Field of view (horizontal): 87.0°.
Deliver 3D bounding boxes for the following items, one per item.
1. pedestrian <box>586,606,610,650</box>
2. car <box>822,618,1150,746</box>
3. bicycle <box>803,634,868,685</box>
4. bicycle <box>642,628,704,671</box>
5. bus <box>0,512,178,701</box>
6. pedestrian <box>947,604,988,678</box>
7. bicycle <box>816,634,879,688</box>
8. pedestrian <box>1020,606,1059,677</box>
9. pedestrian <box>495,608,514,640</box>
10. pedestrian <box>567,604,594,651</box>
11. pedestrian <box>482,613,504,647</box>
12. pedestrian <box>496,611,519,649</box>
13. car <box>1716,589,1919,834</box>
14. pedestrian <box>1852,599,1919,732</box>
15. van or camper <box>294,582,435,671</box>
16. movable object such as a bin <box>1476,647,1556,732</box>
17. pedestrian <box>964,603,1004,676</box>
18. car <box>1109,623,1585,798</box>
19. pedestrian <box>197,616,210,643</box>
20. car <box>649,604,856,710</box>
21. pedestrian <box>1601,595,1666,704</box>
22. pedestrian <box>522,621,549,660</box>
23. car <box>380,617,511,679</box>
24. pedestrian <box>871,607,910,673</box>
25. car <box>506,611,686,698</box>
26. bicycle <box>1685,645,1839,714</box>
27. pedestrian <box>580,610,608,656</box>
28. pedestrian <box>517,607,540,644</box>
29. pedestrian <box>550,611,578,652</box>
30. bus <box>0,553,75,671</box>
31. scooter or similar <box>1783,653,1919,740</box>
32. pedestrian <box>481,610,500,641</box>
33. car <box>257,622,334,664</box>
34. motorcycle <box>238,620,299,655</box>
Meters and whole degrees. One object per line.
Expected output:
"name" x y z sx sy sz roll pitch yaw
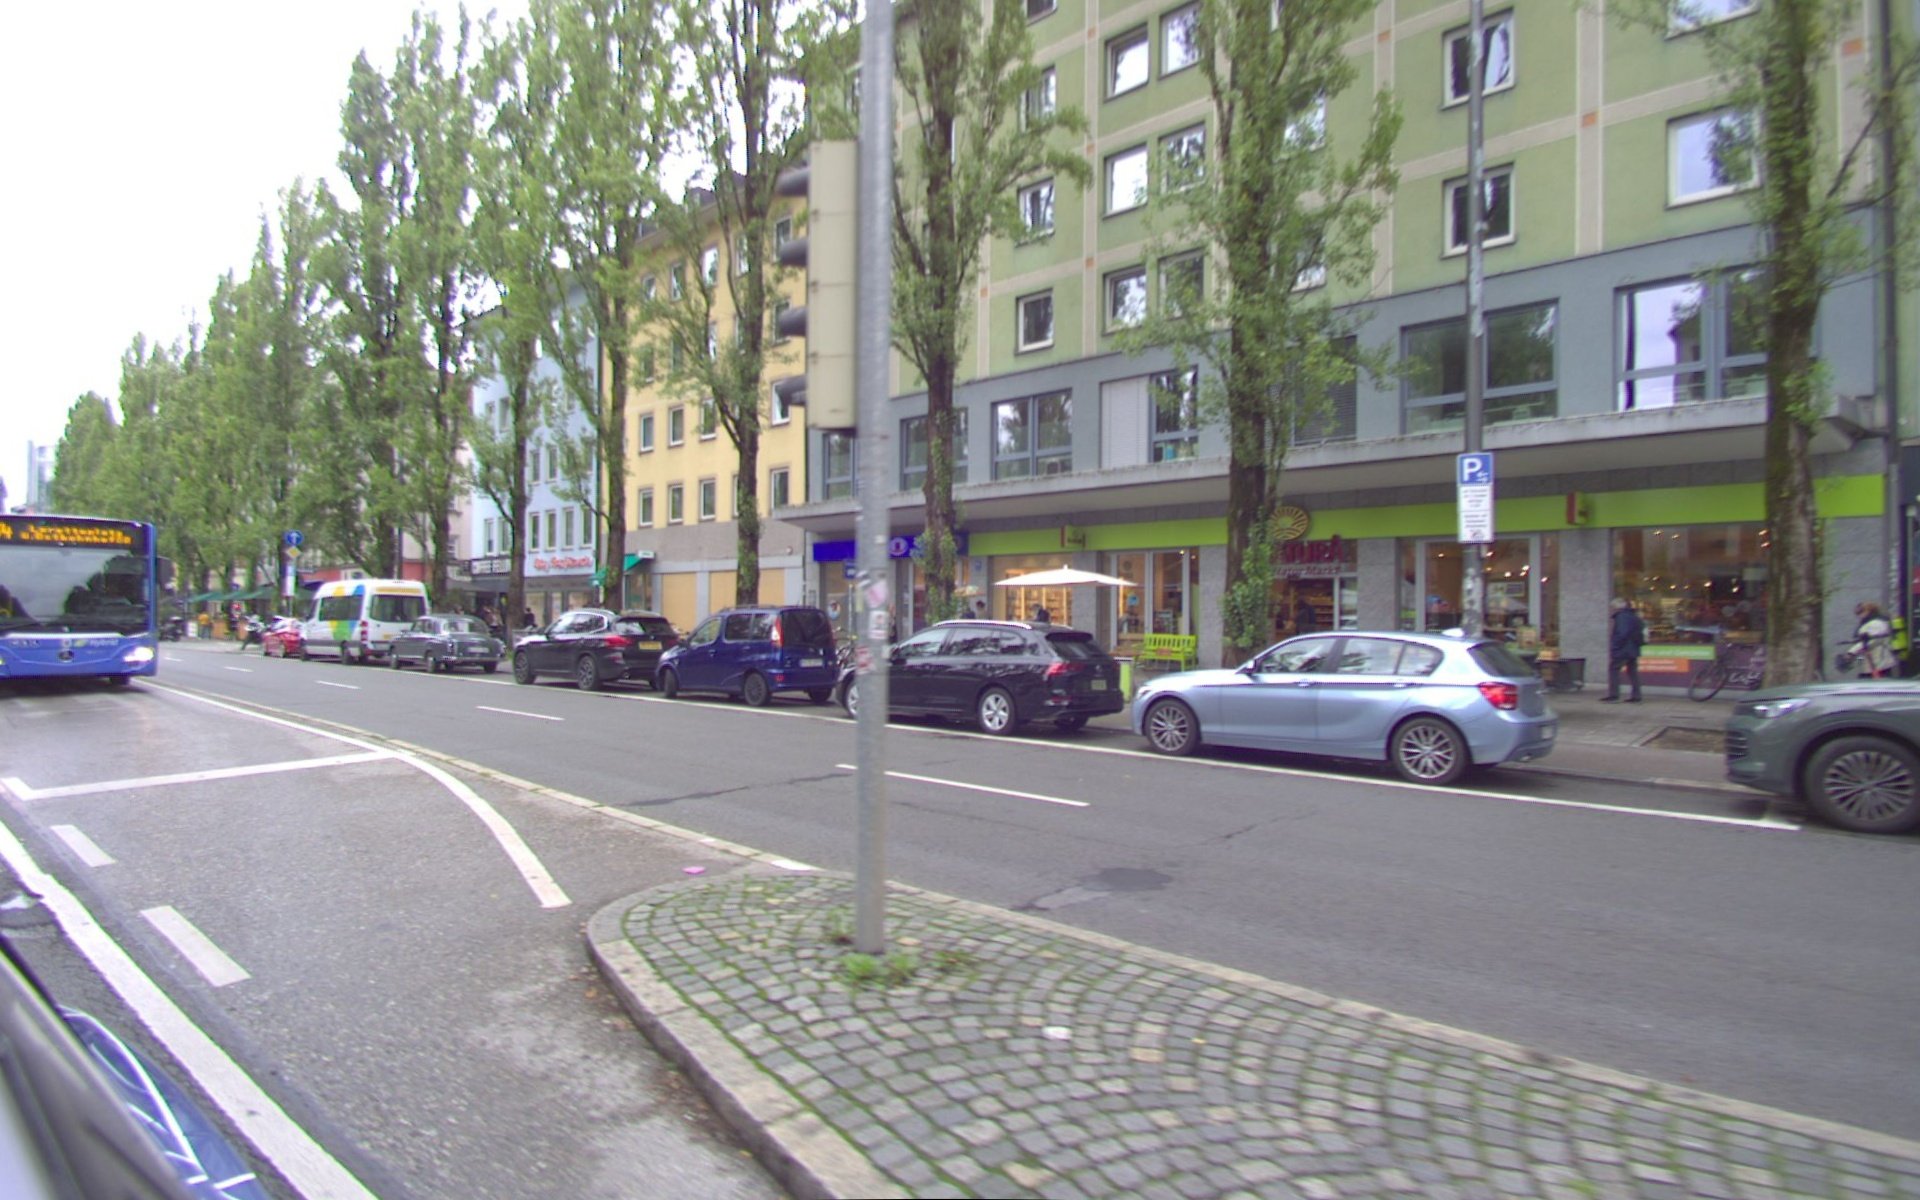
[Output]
"pedestrian" -14.085 1.082 39.389 0.724 1.717 0.632 -1 -2 42
"car" 0.213 1.007 14.057 4.585 1.457 1.684 0 -1 43
"bicycle" -2.857 1.355 23.331 0.361 1.124 1.657 -1 -2 43
"bicycle" -7.780 1.332 27.475 0.358 1.124 1.657 -1 -2 43
"bus" -19.062 0.194 20.682 12.857 2.925 2.769 -1 -1 43
"pedestrian" 0.195 1.001 25.203 0.716 1.808 0.739 -1 -2 43
"bicycle" -2.554 1.373 23.047 0.286 1.159 1.635 -1 -2 43
"pedestrian" 2.022 1.040 25.683 0.716 1.768 0.713 -1 -2 43
"pedestrian" -21.406 1.123 47.543 0.550 1.449 0.602 -1 -1 38
"pedestrian" -14.561 1.054 38.821 0.723 1.779 0.723 -1 -2 41
"pedestrian" -19.949 1.285 43.248 0.550 1.449 0.641 -1 -1 38
"pedestrian" -20.270 1.329 45.358 0.678 1.663 0.713 -1 -2 43
"car" 8.074 0.793 6.836 4.587 1.693 1.760 0 -2 44
"pedestrian" 12.873 0.880 14.006 0.756 1.768 0.809 -1 -2 43
"van or camper" -19.112 0.824 32.299 6.644 2.570 2.102 -1 -2 43
"movable object such as a bin" 7.255 1.151 13.239 0.655 1.055 0.729 0 -1 3
"pedestrian" 0.605 0.993 25.668 0.716 1.808 0.739 -1 -2 43
"car" 3.888 0.999 10.672 4.399 1.428 1.640 0 -2 42
"pedestrian" -45.383 1.789 60.724 0.600 1.601 0.552 1 -2 -36
"car" -3.776 0.968 18.138 3.769 1.699 1.601 0 -3 40
"pedestrian" 10.756 0.776 16.165 0.756 1.685 0.701 -1 -2 43
"pedestrian" -15.780 1.495 37.614 0.673 1.449 0.606 0 -1 19
"car" -14.042 1.255 27.517 4.259 1.541 1.685 0 -2 41
"pedestrian" -1.783 1.007 26.021 0.712 1.663 0.713 -1 -2 43
"car" -7.805 1.091 21.489 4.503 1.645 1.684 0 -2 43
"bicycle" 12.483 1.218 15.798 1.850 0.979 0.474 -1 -2 43
"pedestrian" -13.441 1.197 37.204 0.712 1.663 0.713 -1 -2 43
"pedestrian" -19.616 1.169 46.022 0.706 1.663 0.713 -1 -2 43
"pedestrian" -14.506 1.147 37.081 0.550 1.449 0.759 -1 -1 38
"bus" -28.455 0.382 29.445 12.858 2.925 2.768 -1 -2 43
"scooter or similar" 11.060 1.168 12.559 0.433 0.948 1.248 0 0 -22
"pedestrian" -21.808 1.186 47.025 0.550 1.449 0.602 -1 -1 39
"car" -24.255 1.522 36.912 3.762 1.422 1.538 -1 -1 44
"motorcycle" -28.451 1.532 41.664 0.569 1.432 1.999 -1 -2 35
